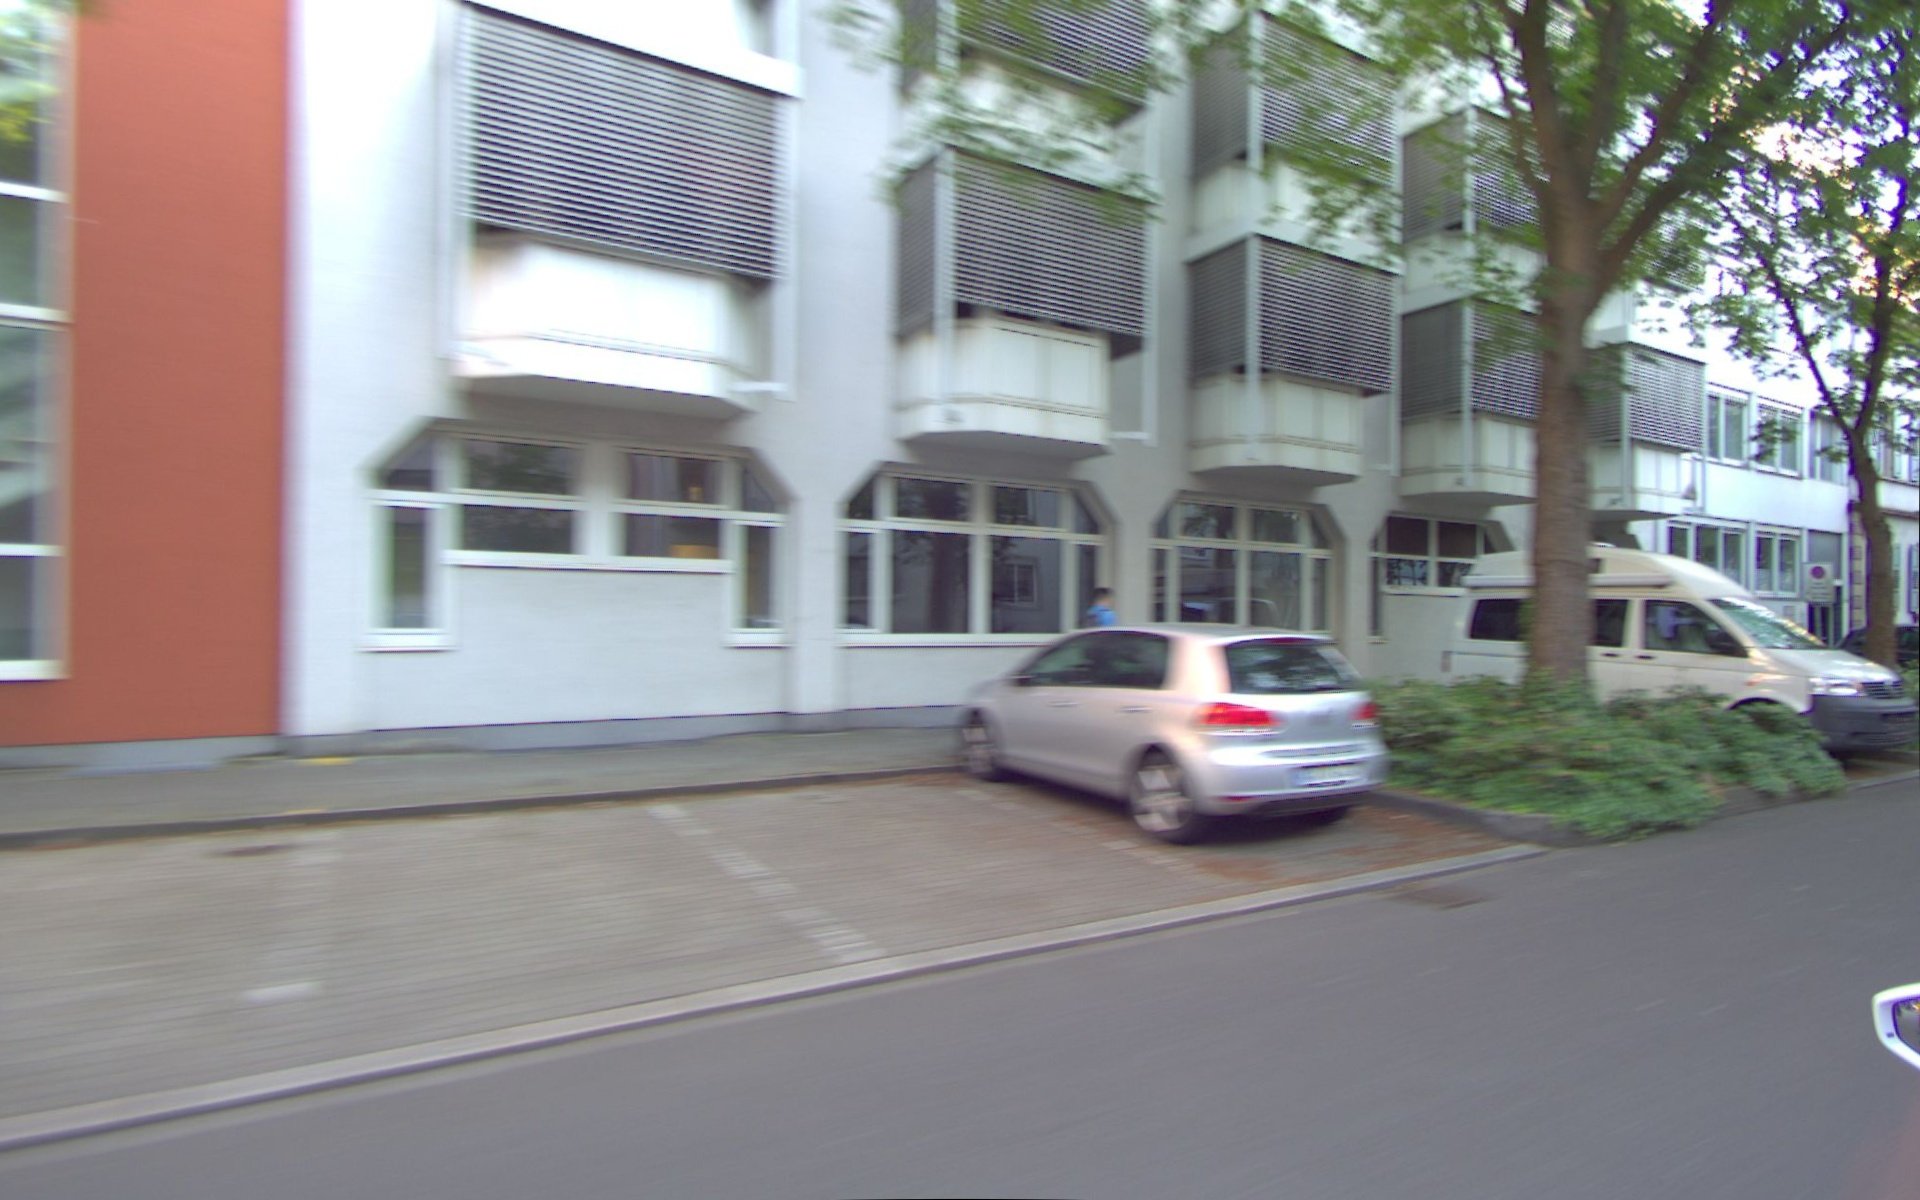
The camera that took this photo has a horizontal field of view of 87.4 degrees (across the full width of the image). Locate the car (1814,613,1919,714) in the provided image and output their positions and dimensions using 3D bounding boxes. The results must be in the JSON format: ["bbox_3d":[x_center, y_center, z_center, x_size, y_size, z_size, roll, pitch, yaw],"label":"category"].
[{"bbox_3d":[19.212,1.185,18.699,1.940,1.878,4.662,1,-3,-30],"label":"car"}]

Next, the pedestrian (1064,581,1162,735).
[{"bbox_3d":[1.811,0.665,11.943,0.894,1.751,0.700,1,0,-30],"label":"pedestrian"}]

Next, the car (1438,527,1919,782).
[{"bbox_3d":[8.633,0.558,12.397,1.976,2.511,4.661,1,-1,-30],"label":"car"}]

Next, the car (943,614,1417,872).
[{"bbox_3d":[1.505,0.910,8.263,1.735,1.506,3.855,1,0,-28],"label":"car"}]
